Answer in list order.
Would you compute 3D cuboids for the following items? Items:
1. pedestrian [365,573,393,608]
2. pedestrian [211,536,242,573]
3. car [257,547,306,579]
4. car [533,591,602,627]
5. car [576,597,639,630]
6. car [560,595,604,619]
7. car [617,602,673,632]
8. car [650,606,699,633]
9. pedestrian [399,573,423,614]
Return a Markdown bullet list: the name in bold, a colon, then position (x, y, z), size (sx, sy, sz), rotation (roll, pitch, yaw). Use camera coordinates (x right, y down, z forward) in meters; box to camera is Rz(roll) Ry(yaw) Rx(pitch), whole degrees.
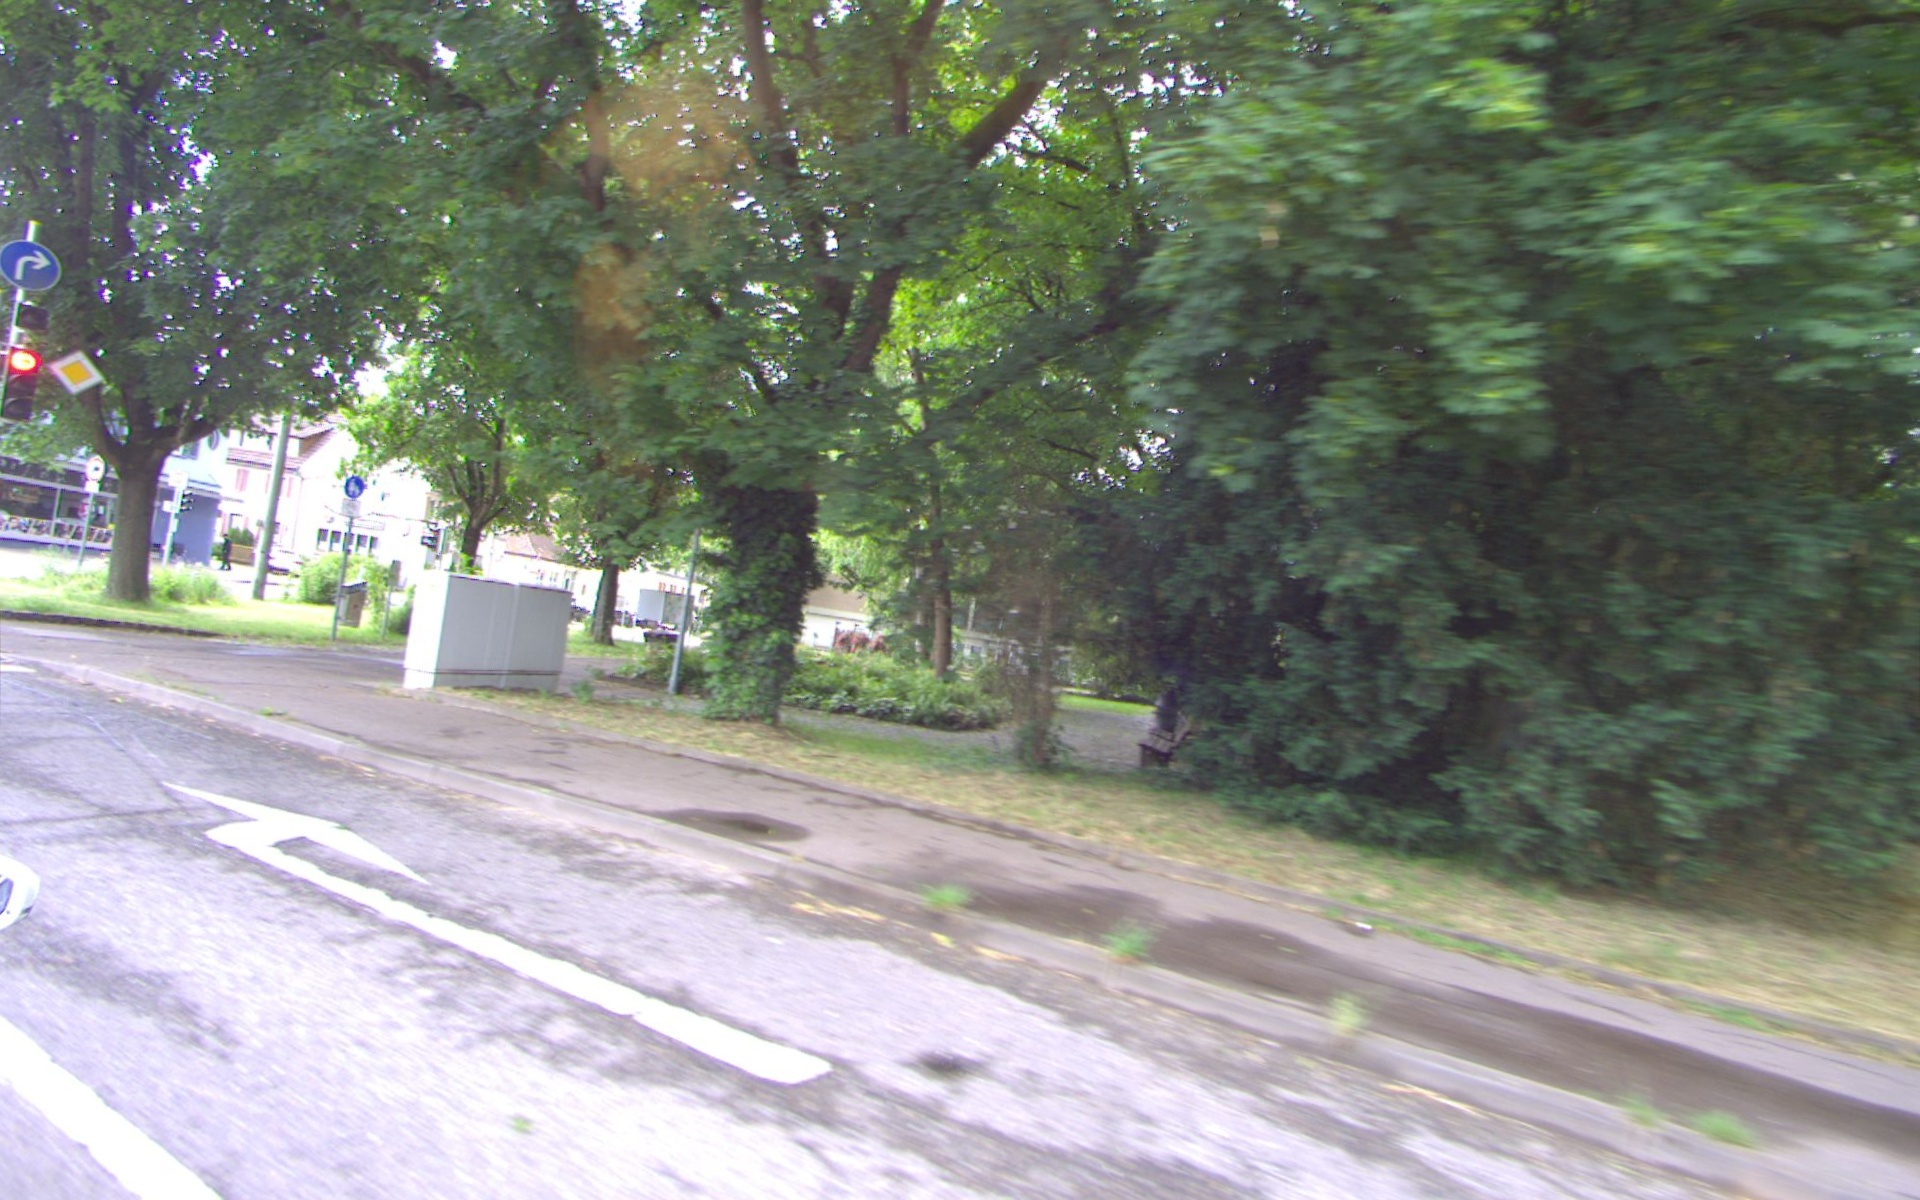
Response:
- **pedestrian**: position (-19.908, -0.328, 34.447), size (0.506, 1.093, 0.507), rotation (7, -1, 14)
- **pedestrian**: position (-34.093, -2.118, 46.745), size (0.732, 1.578, 0.673), rotation (7, -1, 14)
- **car**: position (-36.282, -1.981, 53.872), size (1.873, 1.406, 3.584), rotation (9, -2, -32)
- **car**: position (-20.216, 0.476, 51.989), size (1.618, 1.474, 3.478), rotation (7, -2, 10)
- **car**: position (-19.825, 0.808, 56.758), size (1.618, 1.474, 3.740), rotation (7, -2, 10)
- **car**: position (-28.568, 0.543, 76.142), size (1.737, 1.463, 3.863), rotation (7, -2, -1)
- **car**: position (-19.280, 1.088, 61.779), size (1.618, 1.474, 3.740), rotation (7, -2, 10)
- **car**: position (-19.243, 1.348, 67.924), size (1.618, 1.474, 3.740), rotation (7, -2, 10)
- **pedestrian**: position (-22.264, -0.274, 40.792), size (0.689, 1.578, 0.661), rotation (8, -1, -31)
